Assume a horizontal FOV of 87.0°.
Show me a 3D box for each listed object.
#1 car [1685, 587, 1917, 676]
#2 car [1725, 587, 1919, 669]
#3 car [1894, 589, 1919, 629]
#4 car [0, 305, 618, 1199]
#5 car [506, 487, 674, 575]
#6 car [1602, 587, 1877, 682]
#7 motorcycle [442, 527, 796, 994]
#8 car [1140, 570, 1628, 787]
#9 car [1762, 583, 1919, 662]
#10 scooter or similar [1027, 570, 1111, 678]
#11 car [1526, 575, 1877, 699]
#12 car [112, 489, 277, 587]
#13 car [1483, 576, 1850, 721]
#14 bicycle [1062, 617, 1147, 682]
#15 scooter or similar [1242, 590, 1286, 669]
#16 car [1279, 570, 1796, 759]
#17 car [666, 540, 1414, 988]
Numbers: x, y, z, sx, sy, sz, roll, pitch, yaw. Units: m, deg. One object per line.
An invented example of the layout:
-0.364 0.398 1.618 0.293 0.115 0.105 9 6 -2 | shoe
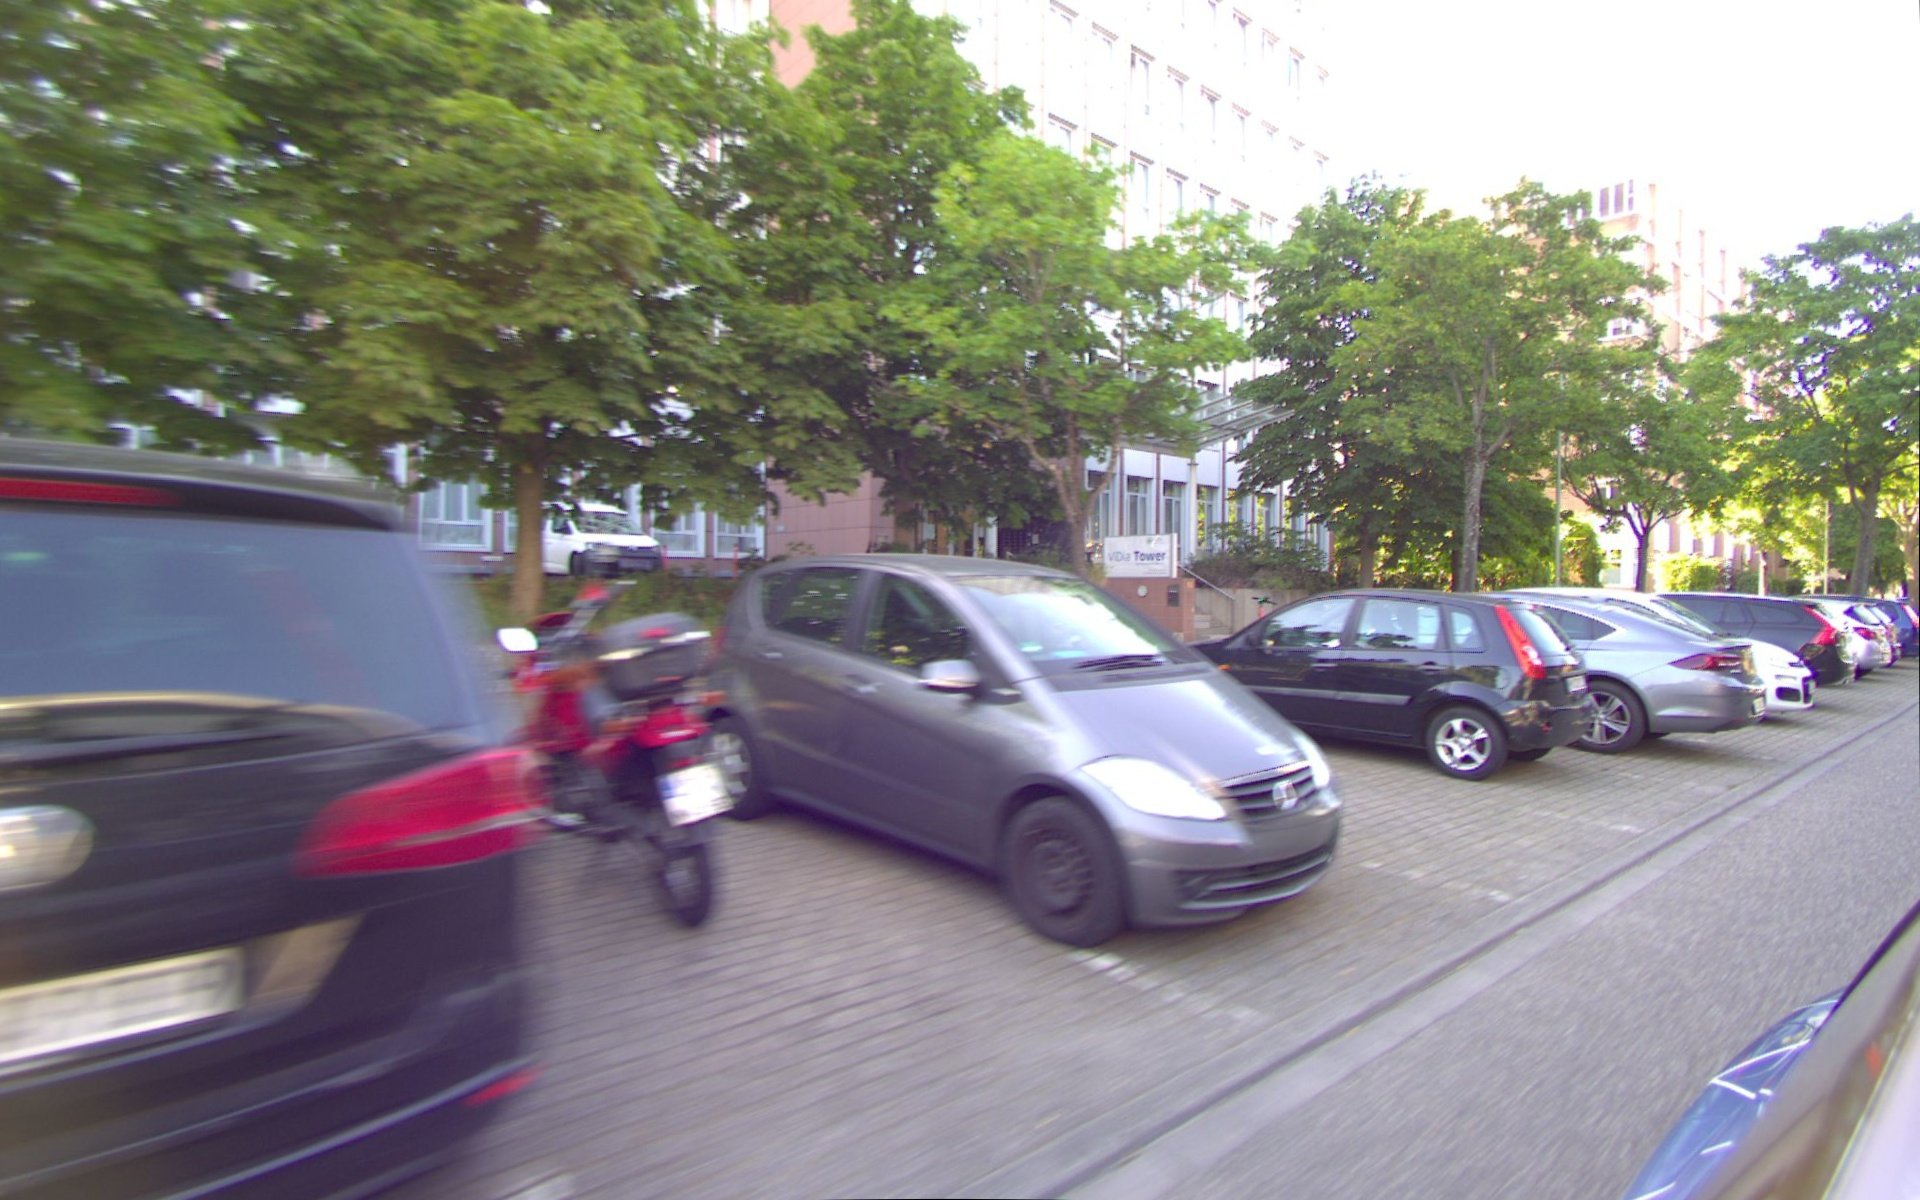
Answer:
16.352 0.536 19.785 1.559 1.497 3.206 0 2 -37 | car
18.306 0.528 21.468 1.470 1.477 2.999 0 3 -38 | car
42.883 0.381 43.303 1.966 1.727 4.158 -1 1 -43 | car
-2.433 0.423 2.783 1.693 1.772 3.682 0 2 -38 | car
-8.215 -1.406 22.237 1.843 1.707 4.723 0 1 -42 | car
14.156 0.545 18.537 1.629 1.471 3.750 0 2 -42 | car
-1.668 0.501 4.595 0.753 1.599 2.314 0 2 -39 | motorcycle
3.682 0.535 9.209 1.696 1.499 3.713 1 1 -45 | car
20.724 0.472 23.449 1.575 1.624 3.055 0 2 -38 | car
1.501 0.311 13.867 1.293 1.419 0.414 0 0 -44 | scooter or similar
10.778 0.432 14.912 1.656 1.569 3.974 0 1 -44 | car
-13.631 -1.012 17.925 4.224 1.525 1.697 1 1 44 | car
8.980 0.497 13.068 1.695 1.525 3.579 0 3 -42 | car
1.854 0.617 12.890 1.255 0.783 0.334 1 0 -41 | bicycle
4.800 0.438 15.943 0.270 1.201 1.232 0 0 35 | scooter or similar
5.858 0.506 10.734 1.828 1.573 4.427 0 1 -42 | car
0.163 0.493 5.569 3.872 1.584 1.780 3 3 45 | car
